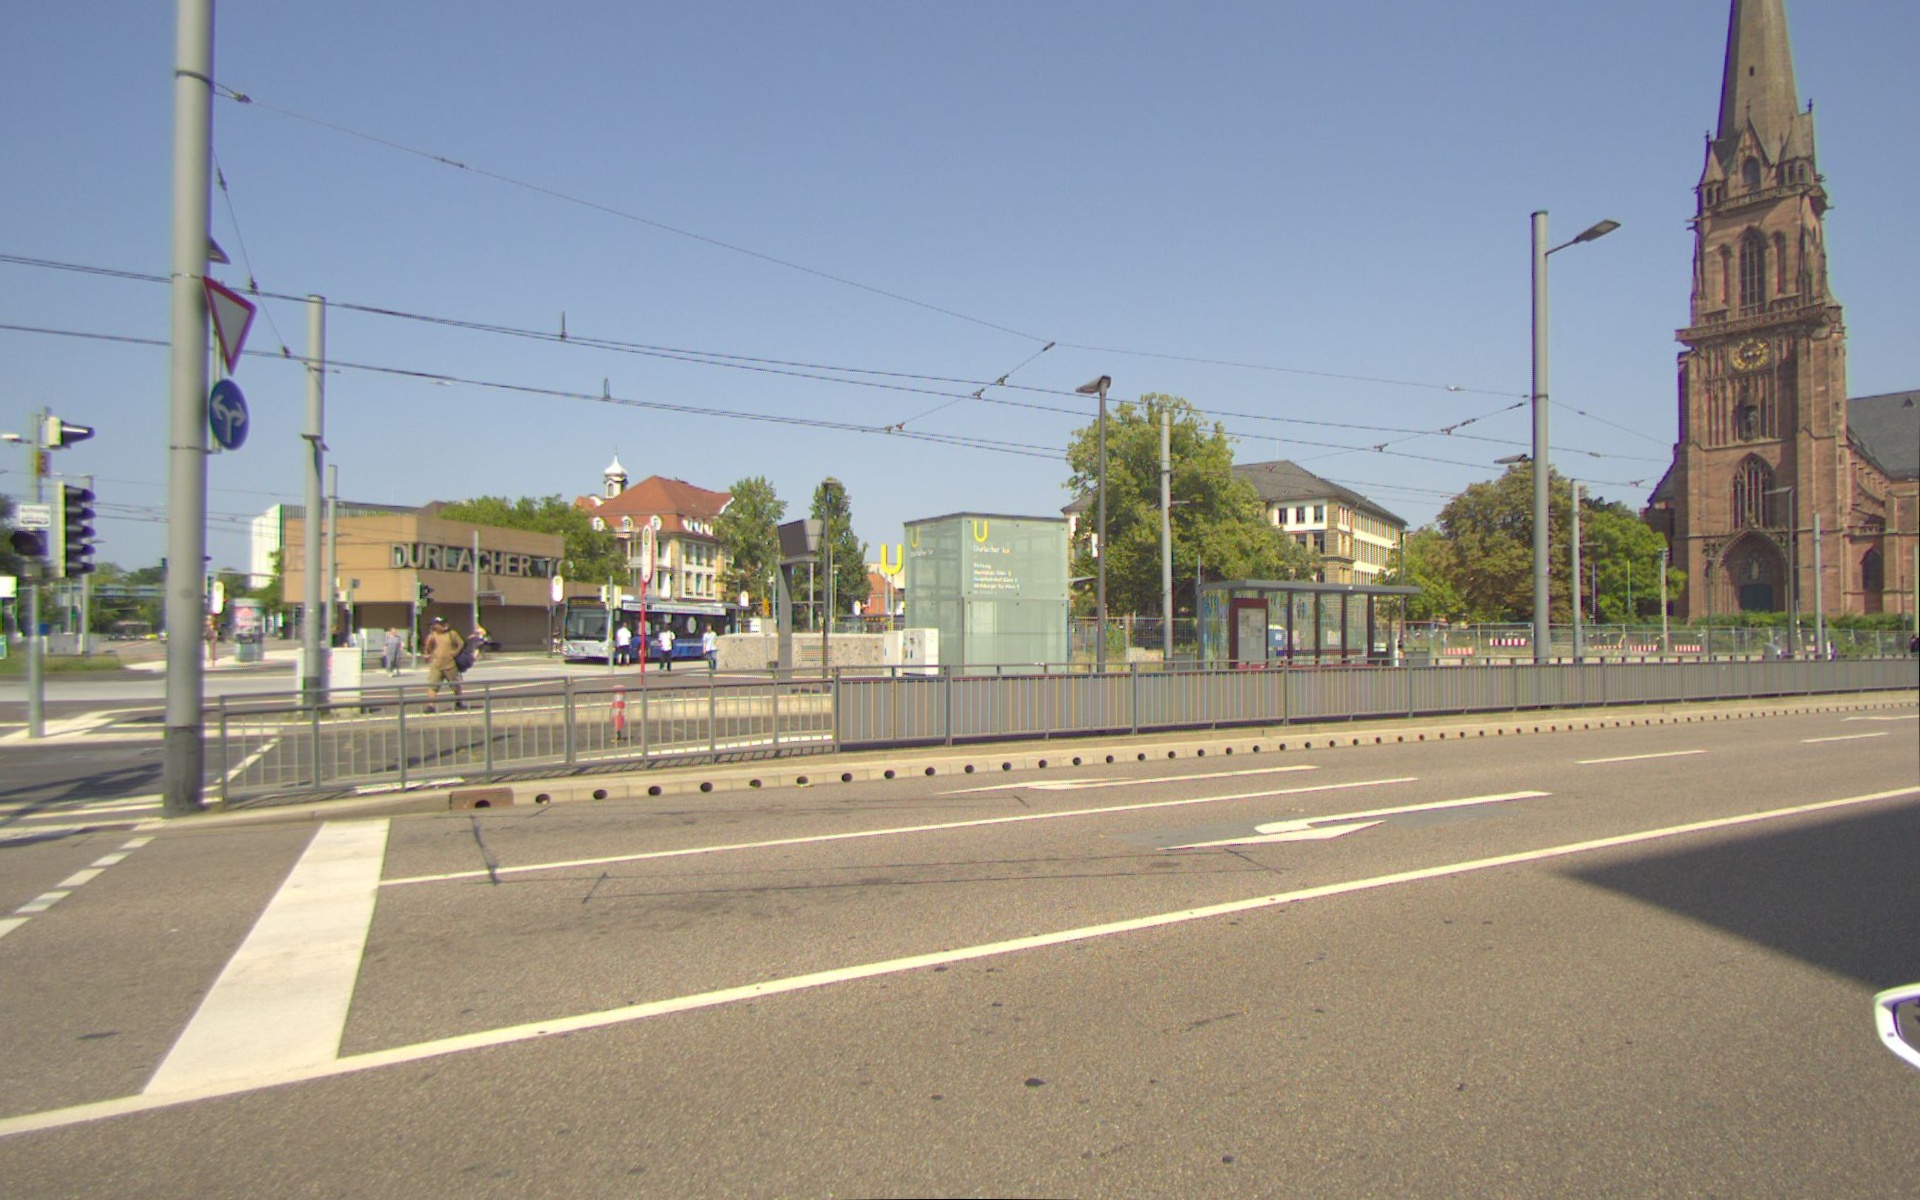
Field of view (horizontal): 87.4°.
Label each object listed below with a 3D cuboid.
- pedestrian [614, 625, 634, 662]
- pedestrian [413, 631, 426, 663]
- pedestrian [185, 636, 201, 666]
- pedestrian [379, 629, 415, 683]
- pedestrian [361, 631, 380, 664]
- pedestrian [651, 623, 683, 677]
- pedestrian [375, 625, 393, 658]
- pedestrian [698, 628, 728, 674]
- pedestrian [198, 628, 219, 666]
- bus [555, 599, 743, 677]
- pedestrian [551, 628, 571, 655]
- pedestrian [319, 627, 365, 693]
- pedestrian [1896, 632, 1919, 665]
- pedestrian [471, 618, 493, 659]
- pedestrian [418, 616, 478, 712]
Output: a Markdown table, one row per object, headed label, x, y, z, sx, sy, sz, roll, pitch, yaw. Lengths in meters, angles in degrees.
| label | x | y | z | sx | sy | sz | roll | pitch | yaw |
| --- | --- | --- | --- | --- | --- | --- | --- | --- | --- |
| pedestrian | -14.449 | 1.858 | 43.192 | 0.588 | 1.548 | 0.577 | 1 | -2 | 15 |
| pedestrian | -28.617 | 2.498 | 53.221 | 0.564 | 1.667 | 0.508 | -1 | -1 | -27 |
| pedestrian | -36.959 | 2.454 | 48.399 | 0.342 | 1.393 | 0.462 | -1 | -2 | 16 |
| pedestrian | -19.094 | 1.897 | 34.086 | 0.947 | 1.803 | 0.780 | 2 | -2 | -27 |
| pedestrian | -30.455 | 2.451 | 51.882 | 0.567 | 1.698 | 0.587 | -2 | -1 | 17 |
| pedestrian | -9.623 | 1.639 | 33.045 | 0.768 | 1.751 | 0.679 | 0 | -2 | 10 |
| pedestrian | -30.183 | 2.196 | 52.653 | 0.567 | 1.698 | 0.587 | -2 | -1 | 17 |
| pedestrian | -8.594 | 1.761 | 34.949 | 0.768 | 1.569 | 0.679 | 1 | -1 | 10 |
| pedestrian | -36.614 | 2.276 | 48.952 | 0.549 | 1.840 | 0.561 | -1 | -2 | 16 |
| bus | -14.832 | 1.816 | 49.696 | 2.623 | 3.375 | 12.766 | 0 | -2 | 14 |
| pedestrian | -26.032 | 2.689 | 65.562 | 0.780 | 1.701 | 0.856 | -2 | -1 | 17 |
| pedestrian | -17.062 | 1.648 | 27.739 | 0.947 | 1.803 | 0.780 | 2 | -2 | -27 |
| pedestrian | 51.412 | 2.643 | 54.427 | 0.712 | 1.774 | 0.826 | 2 | -2 | -28 |
| pedestrian | -21.196 | 1.699 | 44.532 | 0.774 | 1.803 | 0.954 | 2 | -2 | -23 |
| pedestrian | -9.362 | 1.154 | 18.371 | 0.566 | 1.681 | 0.796 | -2 | 0 | 43 |
